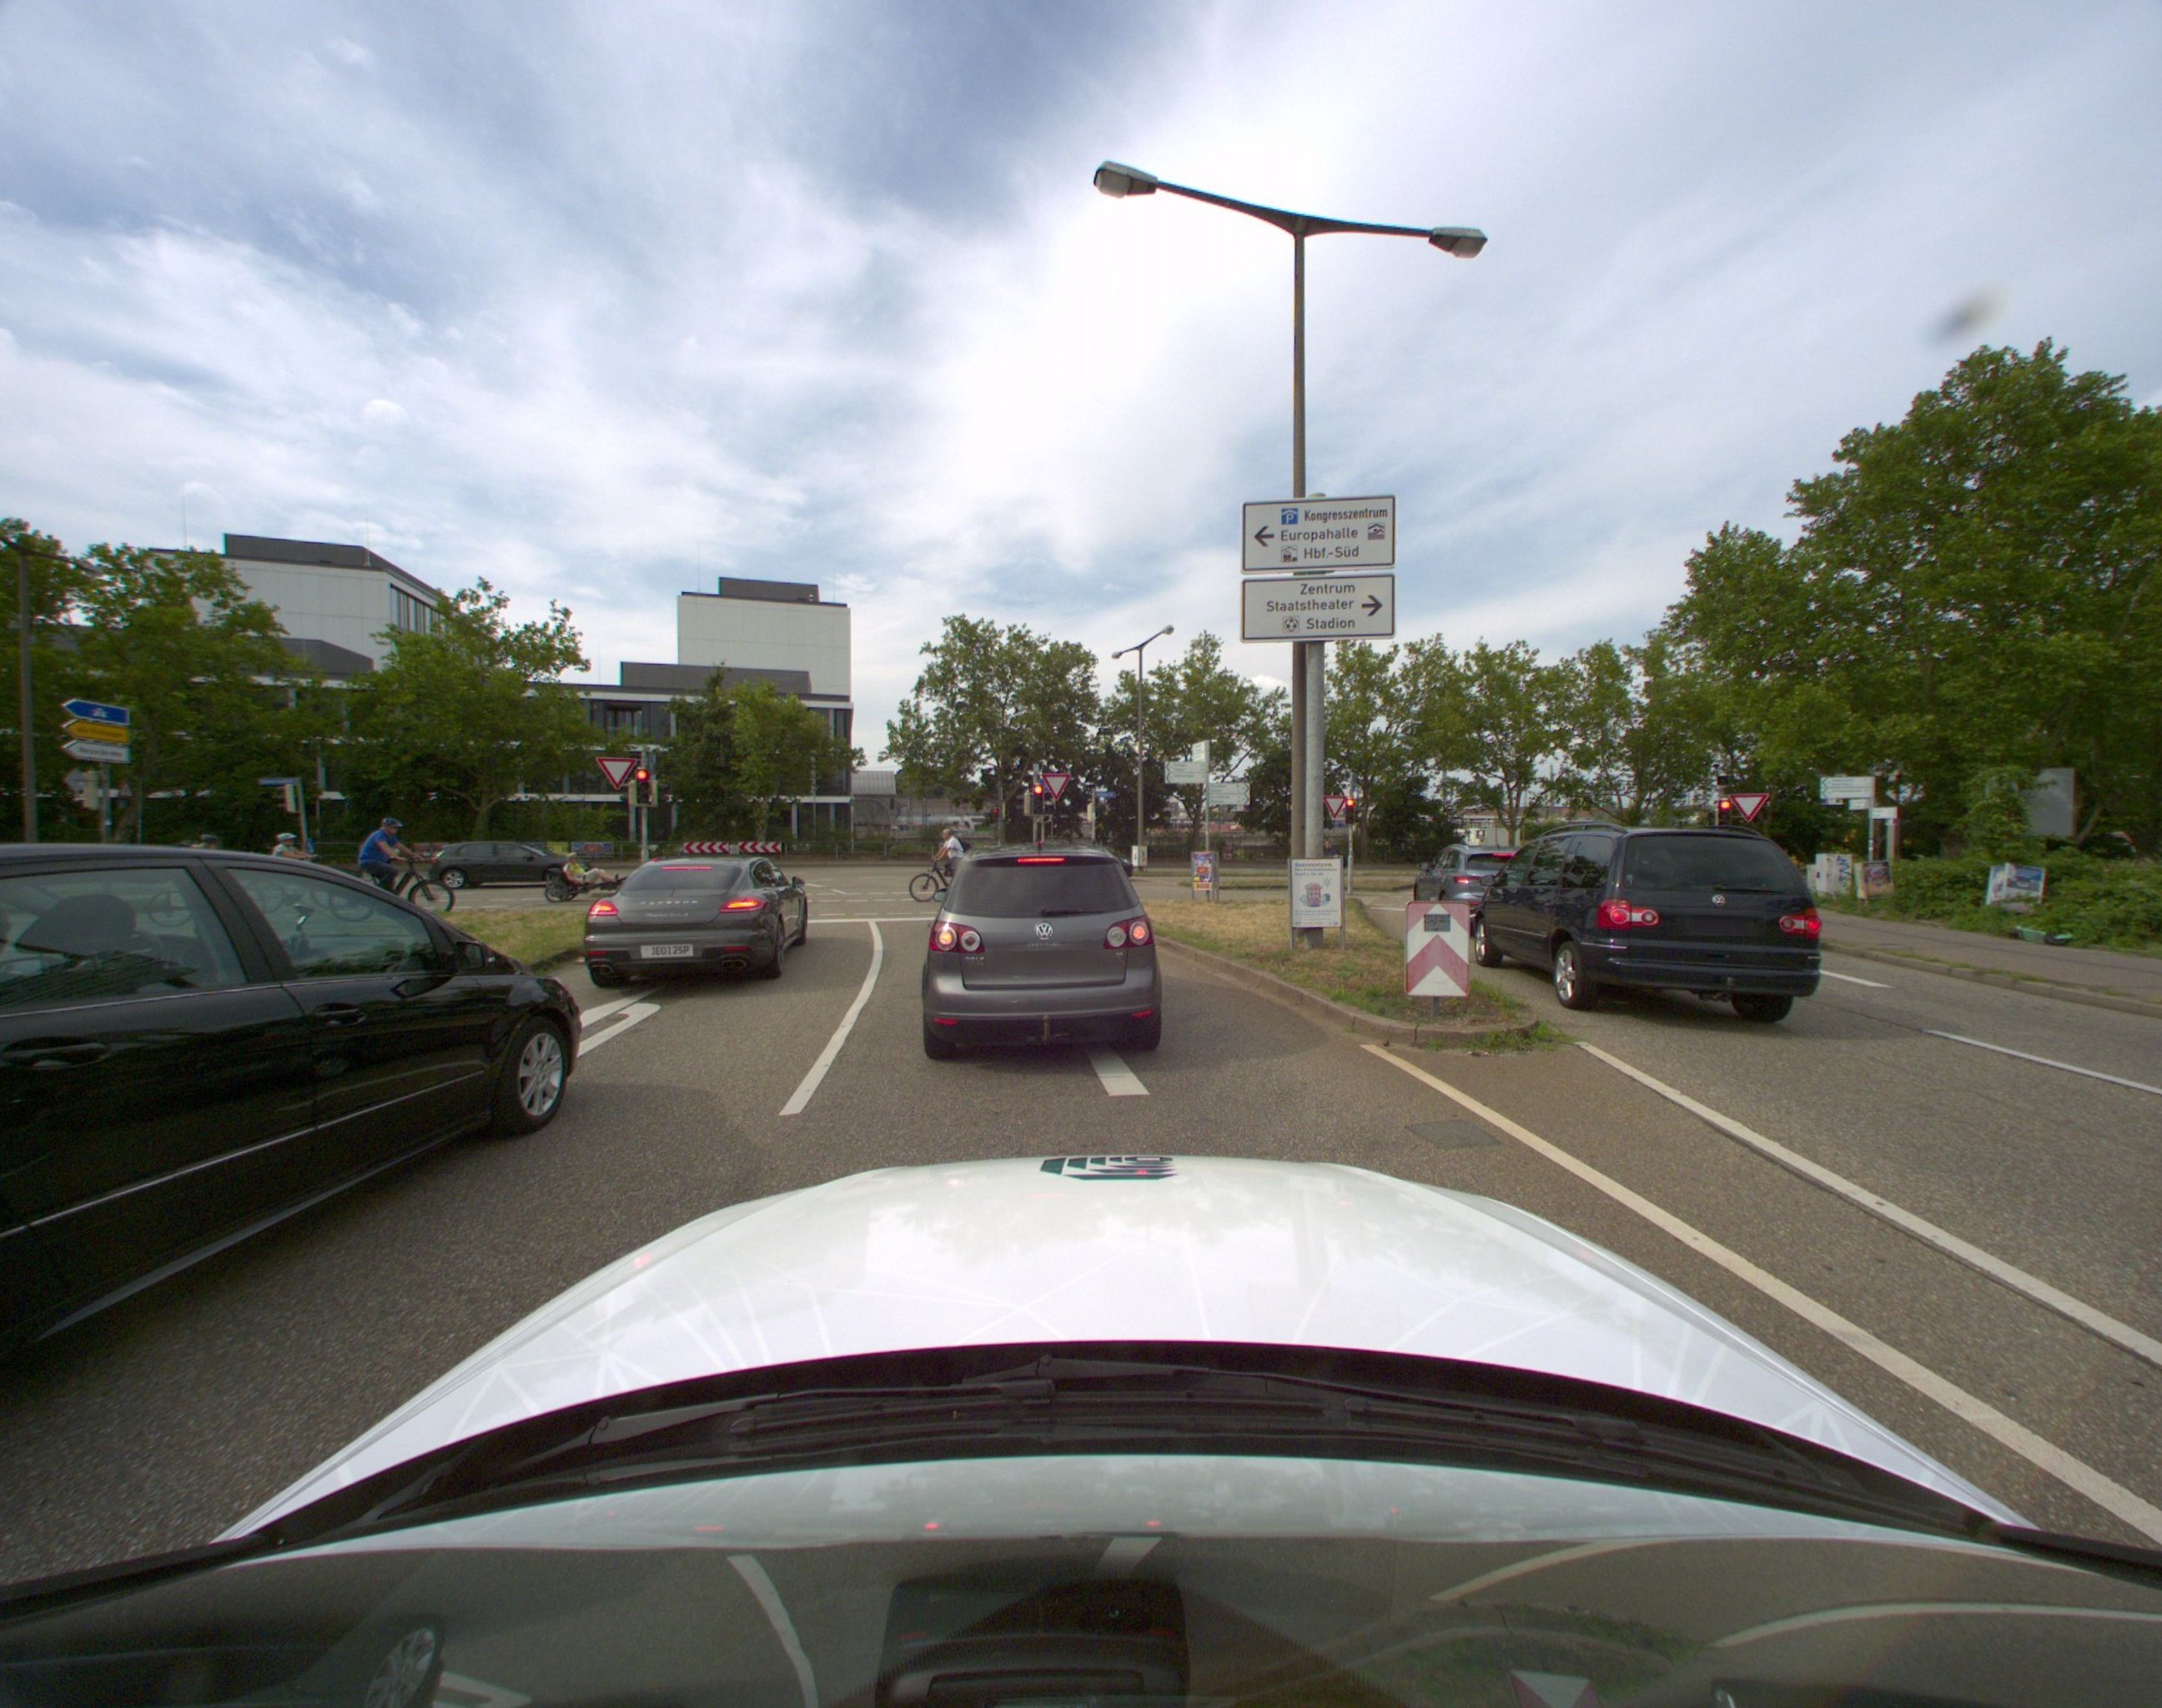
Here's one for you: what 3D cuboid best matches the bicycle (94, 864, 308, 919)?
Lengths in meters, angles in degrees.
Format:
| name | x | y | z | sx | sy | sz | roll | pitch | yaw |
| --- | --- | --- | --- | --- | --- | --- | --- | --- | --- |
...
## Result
| name | x | y | z | sx | sy | sz | roll | pitch | yaw |
| --- | --- | --- | --- | --- | --- | --- | --- | --- | --- |
| bicycle | -16.010 | 0.654 | 14.916 | 2.593 | 0.890 | 0.700 | -1 | 1 | -21 |

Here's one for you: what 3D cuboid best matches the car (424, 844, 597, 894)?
| name | x | y | z | sx | sy | sz | roll | pitch | yaw |
| --- | --- | --- | --- | --- | --- | --- | --- | --- | --- |
| car | -17.749 | 0.433 | 25.550 | 4.067 | 1.450 | 1.693 | -1 | 1 | -17 |

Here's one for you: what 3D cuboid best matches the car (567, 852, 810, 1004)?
| name | x | y | z | sx | sy | sz | roll | pitch | yaw |
| --- | --- | --- | --- | --- | --- | --- | --- | --- | --- |
| car | -4.645 | 0.709 | 10.429 | 1.821 | 1.414 | 4.755 | 0 | 1 | -13 |

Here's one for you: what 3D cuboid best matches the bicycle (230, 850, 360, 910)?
| name | x | y | z | sx | sy | sz | roll | pitch | yaw |
| --- | --- | --- | --- | --- | --- | --- | --- | --- | --- |
| bicycle | -17.067 | 0.538 | 17.749 | 1.911 | 1.210 | 0.637 | -1 | 1 | -28 |

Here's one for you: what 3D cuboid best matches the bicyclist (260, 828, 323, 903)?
| name | x | y | z | sx | sy | sz | roll | pitch | yaw |
| --- | --- | --- | --- | --- | --- | --- | --- | --- | --- |
| bicyclist | -17.138 | 0.239 | 17.697 | 0.783 | 1.581 | 0.649 | -1 | 1 | -27 |

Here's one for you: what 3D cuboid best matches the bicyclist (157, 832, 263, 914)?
| name | x | y | z | sx | sy | sz | roll | pitch | yaw |
| --- | --- | --- | --- | --- | --- | --- | --- | --- | --- |
| bicyclist | -15.946 | 0.325 | 14.942 | 1.118 | 1.436 | 0.643 | -1 | 1 | -21 |

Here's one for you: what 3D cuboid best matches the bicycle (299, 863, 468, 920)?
| name | x | y | z | sx | sy | sz | roll | pitch | yaw |
| --- | --- | --- | --- | --- | --- | --- | --- | --- | --- |
| bicycle | -12.910 | 0.669 | 15.165 | 2.233 | 0.952 | 0.807 | -1 | 1 | -17 |

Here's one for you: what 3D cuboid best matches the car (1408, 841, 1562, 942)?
| name | x | y | z | sx | sy | sz | roll | pitch | yaw |
| --- | --- | --- | --- | --- | --- | --- | --- | --- | --- |
| car | 7.378 | 0.602 | 15.296 | 1.679 | 1.585 | 4.171 | 2 | 0 | 13 |

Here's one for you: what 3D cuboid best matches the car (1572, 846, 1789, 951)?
| name | x | y | z | sx | sy | sz | roll | pitch | yaw |
| --- | --- | --- | --- | --- | --- | --- | --- | --- | --- |
| car | 10.943 | 0.708 | 15.265 | 1.738 | 1.643 | 4.152 | 2 | 0 | 13 |

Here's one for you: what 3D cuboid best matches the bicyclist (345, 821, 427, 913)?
| name | x | y | z | sx | sy | sz | roll | pitch | yaw |
| --- | --- | --- | --- | --- | --- | --- | --- | --- | --- |
| bicyclist | -12.913 | 0.232 | 15.162 | 0.883 | 1.656 | 0.807 | -1 | 0 | -17 |

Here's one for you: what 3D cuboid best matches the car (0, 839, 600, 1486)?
| name | x | y | z | sx | sy | sz | roll | pitch | yaw |
| --- | --- | --- | --- | --- | --- | --- | --- | --- | --- |
| car | -3.666 | 0.756 | 2.963 | 1.755 | 1.575 | 4.028 | 0 | 1 | -6 |

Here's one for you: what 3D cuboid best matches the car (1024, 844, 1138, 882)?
| name | x | y | z | sx | sy | sz | roll | pitch | yaw |
| --- | --- | --- | --- | --- | --- | --- | --- | --- | --- |
| car | -0.018 | 0.309 | 31.304 | 4.065 | 1.368 | 1.694 | -1 | 1 | -16 |

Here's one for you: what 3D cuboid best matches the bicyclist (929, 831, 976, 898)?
| name | x | y | z | sx | sy | sz | roll | pitch | yaw |
| --- | --- | --- | --- | --- | --- | --- | --- | --- | --- |
| bicyclist | -3.332 | 0.254 | 21.029 | 1.114 | 1.696 | 0.809 | -1 | 0 | -15 |

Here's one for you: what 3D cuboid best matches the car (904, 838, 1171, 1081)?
| name | x | y | z | sx | sy | sz | roll | pitch | yaw |
| --- | --- | --- | --- | --- | --- | --- | --- | --- | --- |
| car | -0.474 | 0.662 | 7.361 | 1.739 | 1.546 | 4.073 | -1 | 0 | -6 |

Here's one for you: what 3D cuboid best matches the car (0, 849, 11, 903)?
| name | x | y | z | sx | sy | sz | roll | pitch | yaw |
| --- | --- | --- | --- | --- | --- | --- | --- | --- | --- |
| car | -29.514 | 0.592 | 20.507 | 2.719 | 1.422 | 1.490 | -1 | 1 | -19 |

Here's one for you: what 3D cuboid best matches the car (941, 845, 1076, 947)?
| name | x | y | z | sx | sy | sz | roll | pitch | yaw |
| --- | --- | --- | --- | --- | --- | --- | --- | --- | --- |
| car | -1.406 | 0.600 | 14.106 | 1.743 | 1.482 | 4.063 | -1 | 0 | -14 |

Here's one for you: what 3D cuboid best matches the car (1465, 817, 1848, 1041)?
| name | x | y | z | sx | sy | sz | roll | pitch | yaw |
| --- | --- | --- | --- | --- | --- | --- | --- | --- | --- |
| car | 5.561 | 0.580 | 8.599 | 1.739 | 1.724 | 4.151 | 2 | 0 | 11 |

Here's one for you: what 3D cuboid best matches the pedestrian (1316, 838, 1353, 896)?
| name | x | y | z | sx | sy | sz | roll | pitch | yaw |
| --- | --- | --- | --- | --- | --- | --- | --- | --- | --- |
| pedestrian | 7.733 | 0.378 | 24.834 | 1.038 | 1.710 | 0.858 | 1 | 1 | 19 |

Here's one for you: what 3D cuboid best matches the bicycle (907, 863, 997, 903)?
| name | x | y | z | sx | sy | sz | roll | pitch | yaw |
| --- | --- | --- | --- | --- | --- | --- | --- | --- | --- |
| bicycle | -3.344 | 0.734 | 21.012 | 2.231 | 0.952 | 0.808 | -1 | 1 | -15 |

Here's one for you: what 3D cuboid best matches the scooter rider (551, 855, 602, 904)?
| name | x | y | z | sx | sy | sz | roll | pitch | yaw |
| --- | --- | --- | --- | --- | --- | --- | --- | --- | --- |
| scooter rider | -12.318 | 0.614 | 19.924 | 0.918 | 1.137 | 0.802 | -1 | 1 | -23 |

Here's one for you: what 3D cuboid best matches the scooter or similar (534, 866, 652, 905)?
| name | x | y | z | sx | sy | sz | roll | pitch | yaw |
| --- | --- | --- | --- | --- | --- | --- | --- | --- | --- |
| scooter or similar | -11.961 | 0.767 | 20.077 | 2.389 | 0.849 | 0.802 | -1 | 1 | -23 |
